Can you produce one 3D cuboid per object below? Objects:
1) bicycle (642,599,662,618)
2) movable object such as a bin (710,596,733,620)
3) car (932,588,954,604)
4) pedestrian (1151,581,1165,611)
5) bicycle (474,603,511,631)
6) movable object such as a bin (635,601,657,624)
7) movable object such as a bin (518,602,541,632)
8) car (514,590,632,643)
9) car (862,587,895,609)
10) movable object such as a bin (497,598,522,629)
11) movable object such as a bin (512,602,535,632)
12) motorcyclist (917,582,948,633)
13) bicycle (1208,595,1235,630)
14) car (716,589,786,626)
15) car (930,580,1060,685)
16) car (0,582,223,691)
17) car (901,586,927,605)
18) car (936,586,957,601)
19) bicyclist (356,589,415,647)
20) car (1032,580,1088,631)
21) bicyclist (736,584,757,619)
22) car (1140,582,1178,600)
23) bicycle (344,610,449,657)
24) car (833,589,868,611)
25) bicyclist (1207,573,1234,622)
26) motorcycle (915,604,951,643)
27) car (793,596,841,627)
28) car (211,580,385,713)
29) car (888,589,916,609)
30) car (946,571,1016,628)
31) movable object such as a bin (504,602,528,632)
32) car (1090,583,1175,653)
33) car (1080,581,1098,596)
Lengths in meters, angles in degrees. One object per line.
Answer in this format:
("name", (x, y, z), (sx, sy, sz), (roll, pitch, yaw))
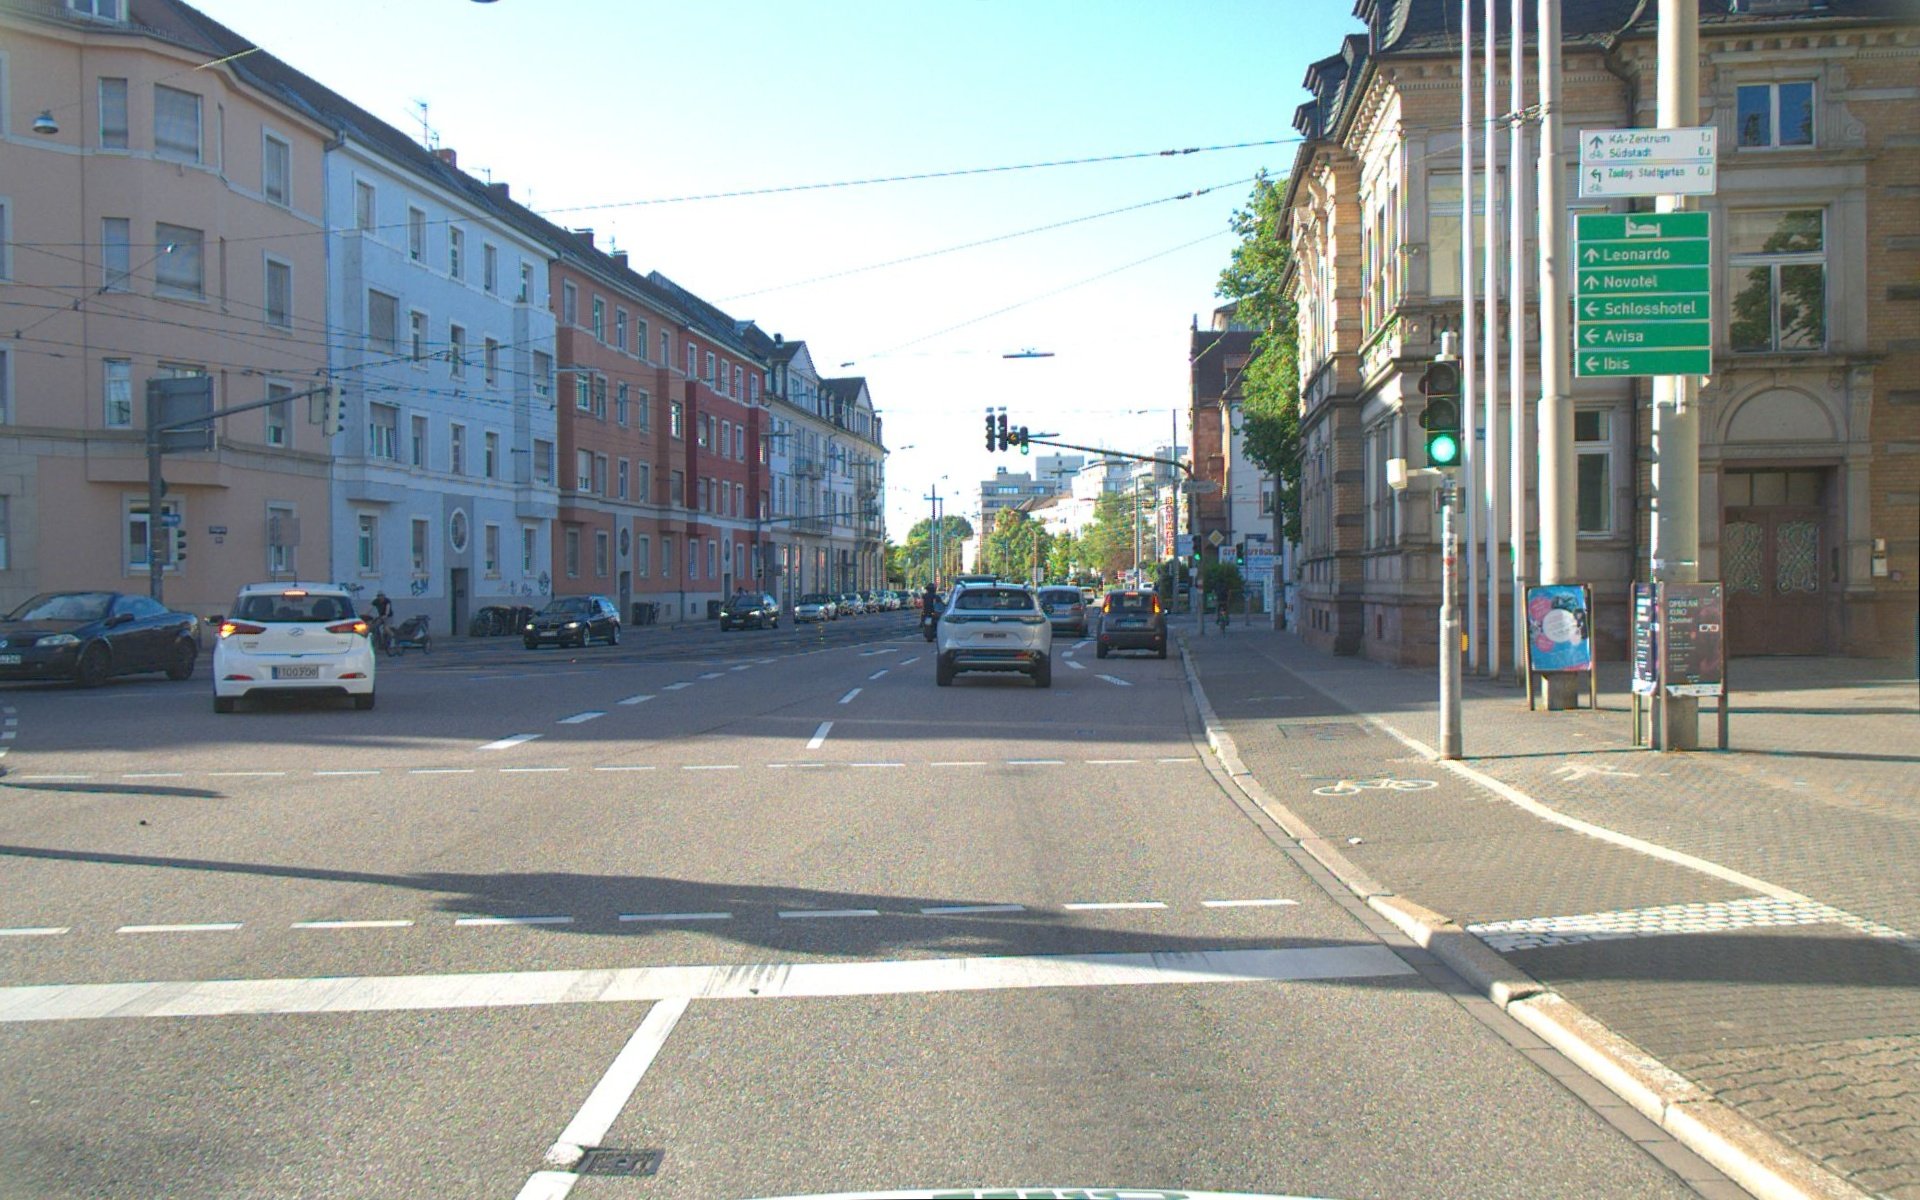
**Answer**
("bicycle", (-14.563, 0.393, 78.247), (0.327, 0.906, 1.606), (-1, 0, 11))
("movable object such as a bin", (-13.048, 0.433, 90.413), (0.852, 1.271, 1.234), (-1, 0, 13))
("car", (-1.740, -0.381, 166.621), (1.682, 1.579, 4.003), (-1, 0, 7))
("pedestrian", (12.173, -0.229, 101.746), (0.857, 1.856, 1.185), (0, 0, 8))
("bicycle", (-16.864, 0.615, 59.711), (0.592, 0.997, 1.878), (0, 0, 7))
("movable object such as a bin", (-14.628, 0.578, 76.976), (0.825, 1.059, 0.812), (-1, 0, 3))
("movable object such as a bin", (-16.447, 0.661, 63.198), (0.687, 1.125, 0.583), (0, 0, 7))
("car", (-10.994, 0.432, 47.325), (1.951, 1.416, 4.564), (0, 0, 5))
("car", (-6.247, -0.168, 126.797), (1.796, 1.579, 4.277), (-1, 0, 7))
("movable object such as a bin", (-16.663, 0.503, 61.219), (0.687, 1.125, 0.649), (0, 0, 7))
("movable object such as a bin", (-16.511, 0.622, 62.530), (0.687, 1.125, 0.583), (0, 0, 7))
("motorcyclist", (-0.800, 0.216, 48.357), (0.761, 1.448, 0.892), (0, 0, 7))
("bicycle", (8.450, 0.394, 53.572), (0.754, 1.105, 1.872), (0, 0, 6))
("car", (-8.624, 0.294, 68.606), (1.881, 1.480, 4.501), (0, 0, 6))
("car", (0.559, 0.453, 26.381), (1.907, 1.555, 4.091), (0, 1, 1))
("car", (-12.763, 0.473, 24.277), (1.785, 1.450, 4.329), (0, 0, 3))
("car", (-3.956, -0.435, 143.077), (1.682, 1.579, 4.003), (-1, 0, 7))
("car", (-1.420, -0.708, 172.643), (1.682, 1.579, 4.003), (-1, 0, 7))
("bicyclist", (-14.231, 0.429, 41.009), (0.914, 1.406, 1.149), (0, 0, 11))
("car", (3.374, 0.176, 55.164), (1.776, 1.610, 4.002), (-1, 0, 5))
("bicyclist", (-10.282, 0.060, 79.820), (0.730, 1.671, 1.127), (-1, 0, 7))
("car", (23.175, -1.024, 192.625), (4.172, 2.049, 1.999), (0, 0, -2))
("bicycle", (-14.116, 0.823, 41.561), (0.914, 1.074, 3.357), (0, 1, 11))
("car", (-7.581, -0.038, 115.138), (1.682, 1.477, 4.003), (-1, 0, 7))
("bicyclist", (8.454, -0.087, 53.585), (0.816, 1.552, 0.995), (0, 0, 12))
("motorcycle", (-0.782, 0.679, 48.496), (0.761, 1.101, 2.283), (0, 1, 7))
("car", (-7.025, 0.550, 81.349), (1.689, 1.399, 3.537), (-1, 0, 6))
("car", (-8.053, 0.490, 20.081), (1.762, 1.418, 4.076), (-1, 0, -23))
("car", (-4.802, -0.070, 136.920), (1.682, 1.579, 4.003), (-1, 0, 7))
("car", (0.842, -0.032, 62.393), (2.126, 2.044, 4.812), (-1, 0, 7))
("movable object such as a bin", (-16.617, 0.640, 61.888), (0.687, 1.125, 0.583), (0, 0, 7))
("car", (4.050, 0.369, 38.388), (1.694, 1.527, 4.004), (0, 1, 10))
("car", (14.394, -1.308, 184.731), (1.951, 1.691, 4.500), (0, 1, 6))
